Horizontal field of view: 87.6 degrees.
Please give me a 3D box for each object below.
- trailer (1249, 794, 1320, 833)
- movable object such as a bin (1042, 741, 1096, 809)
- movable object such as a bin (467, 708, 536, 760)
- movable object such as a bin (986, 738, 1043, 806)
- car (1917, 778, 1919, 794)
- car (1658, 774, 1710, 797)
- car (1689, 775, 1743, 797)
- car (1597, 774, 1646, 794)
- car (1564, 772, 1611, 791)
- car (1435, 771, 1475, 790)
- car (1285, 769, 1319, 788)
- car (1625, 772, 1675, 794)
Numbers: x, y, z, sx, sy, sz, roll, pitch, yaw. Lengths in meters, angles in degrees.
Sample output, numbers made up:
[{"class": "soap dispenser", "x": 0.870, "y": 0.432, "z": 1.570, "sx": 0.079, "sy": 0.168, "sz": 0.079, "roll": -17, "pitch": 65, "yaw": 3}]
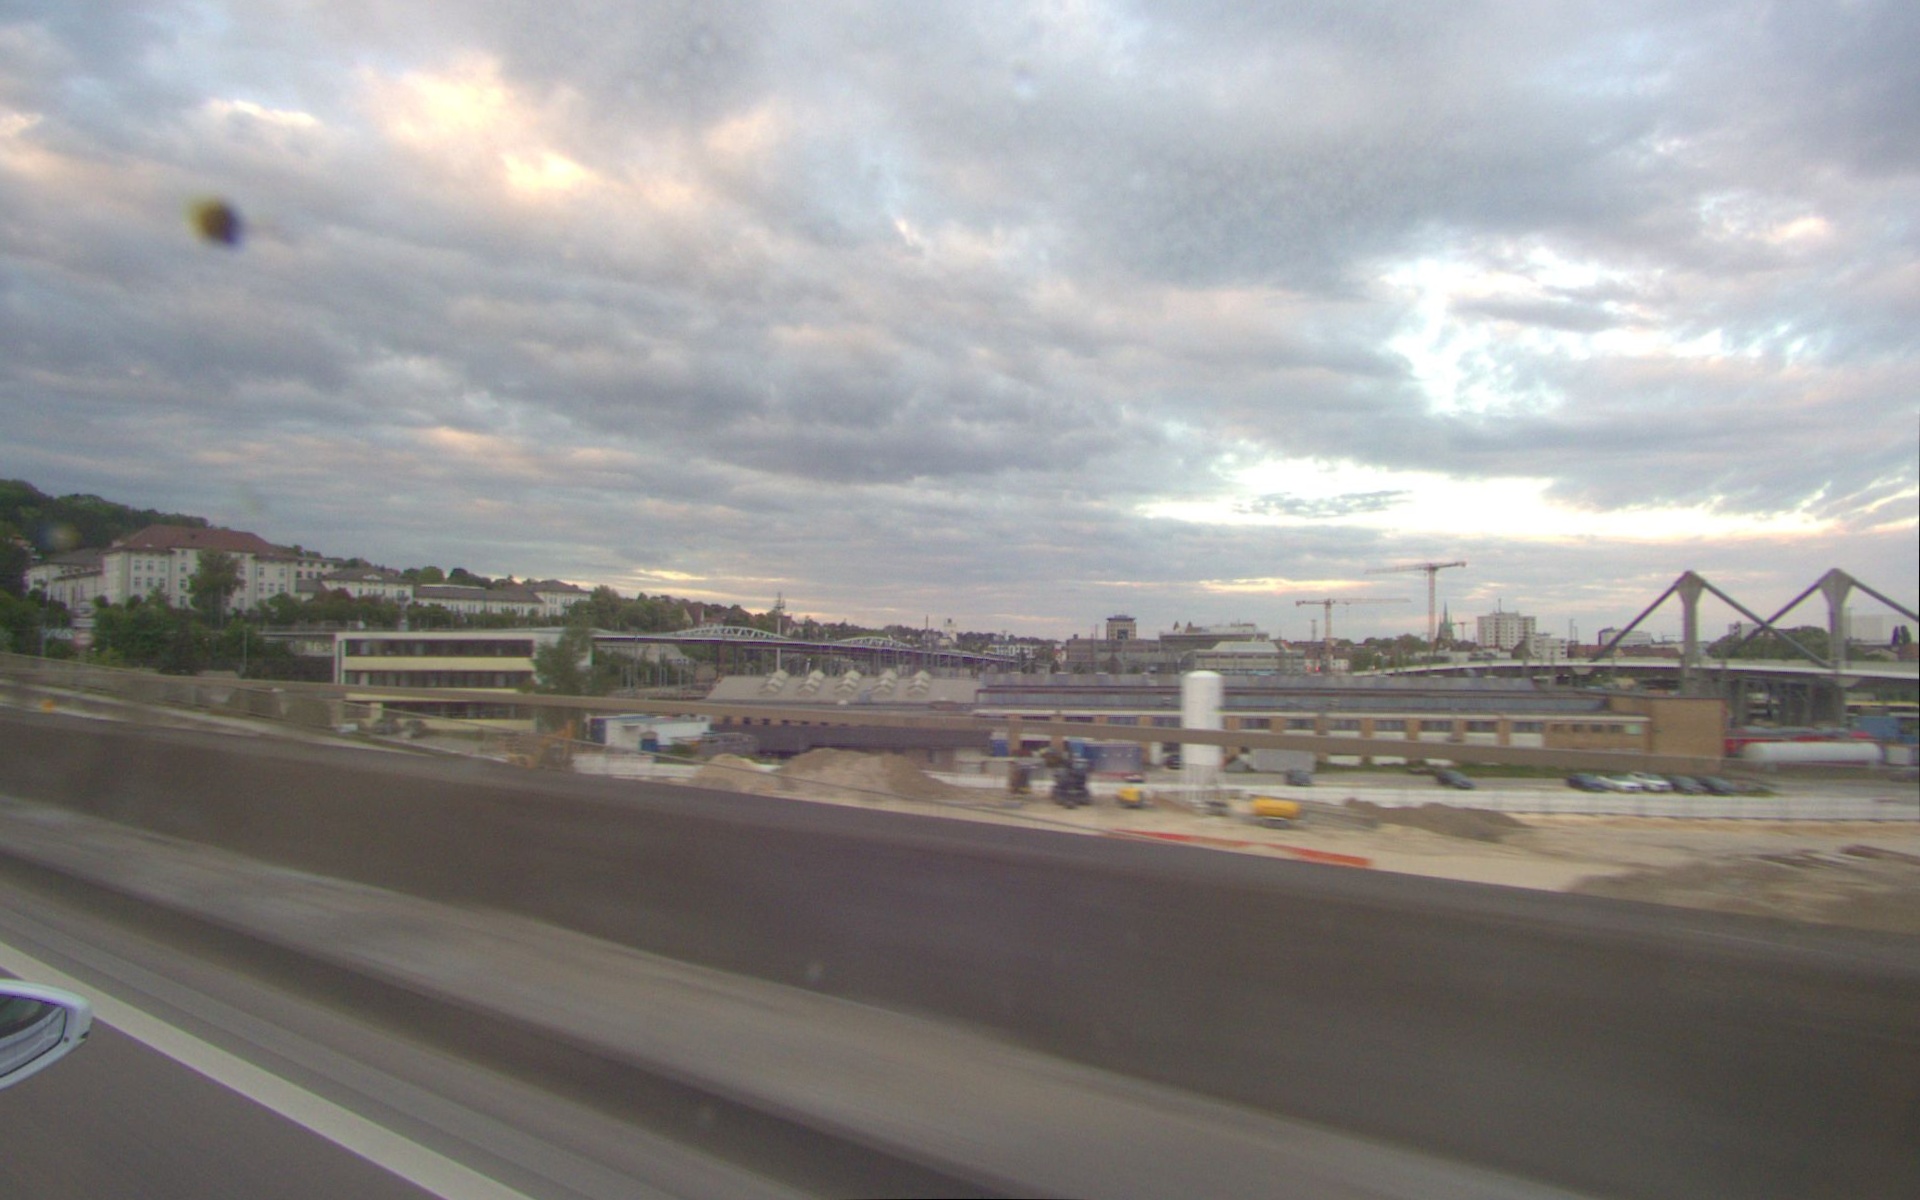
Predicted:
[{"class": "trailer", "x": 19.562, "y": 12.817, "z": 60.374, "sx": 3.781, "sy": 1.823, "sz": 1.998, "roll": 1, "pitch": -7, "yaw": 26}, {"class": "movable object such as a bin", "x": 7.464, "y": 11.793, "z": 68.040, "sx": 2.735, "sy": 4.356, "sz": 4.961, "roll": -1, "pitch": -8, "yaw": 17}, {"class": "movable object such as a bin", "x": -42.029, "y": 12.267, "z": 91.855, "sx": 4.870, "sy": 4.356, "sz": 2.786, "roll": 1, "pitch": -7, "yaw": 20}, {"class": "movable object such as a bin", "x": 3.836, "y": 11.832, "z": 69.371, "sx": 2.735, "sy": 4.356, "sz": 4.961, "roll": -1, "pitch": -8, "yaw": 17}, {"class": "car", "x": 90.581, "y": 17.226, "z": 91.530, "sx": 1.835, "sy": 1.539, "sz": 4.349, "roll": 1, "pitch": -4, "yaw": -3}, {"class": "car", "x": 65.750, "y": 16.819, "z": 91.002, "sx": 1.835, "sy": 1.669, "sz": 4.010, "roll": 4, "pitch": -7, "yaw": 1}, {"class": "car", "x": 68.385, "y": 16.807, "z": 90.637, "sx": 1.835, "sy": 1.669, "sz": 4.010, "roll": 4, "pitch": -7, "yaw": 1}, {"class": "car", "x": 60.518, "y": 16.849, "z": 91.660, "sx": 1.835, "sy": 1.435, "sz": 4.010, "roll": 4, "pitch": -7, "yaw": 1}, {"class": "car", "x": 57.742, "y": 16.711, "z": 92.178, "sx": 1.835, "sy": 1.435, "sz": 4.010, "roll": 4, "pitch": -7, "yaw": 1}, {"class": "car", "x": 45.866, "y": 16.704, "z": 92.865, "sx": 1.835, "sy": 1.435, "sz": 4.010, "roll": 4, "pitch": -7, "yaw": 1}, {"class": "car", "x": 32.037, "y": 16.702, "z": 93.875, "sx": 1.835, "sy": 1.435, "sz": 4.010, "roll": 4, "pitch": -7, "yaw": 1}, {"class": "car", "x": 63.184, "y": 16.738, "z": 91.720, "sx": 1.835, "sy": 1.733, "sz": 4.010, "roll": 4, "pitch": -7, "yaw": 1}]
